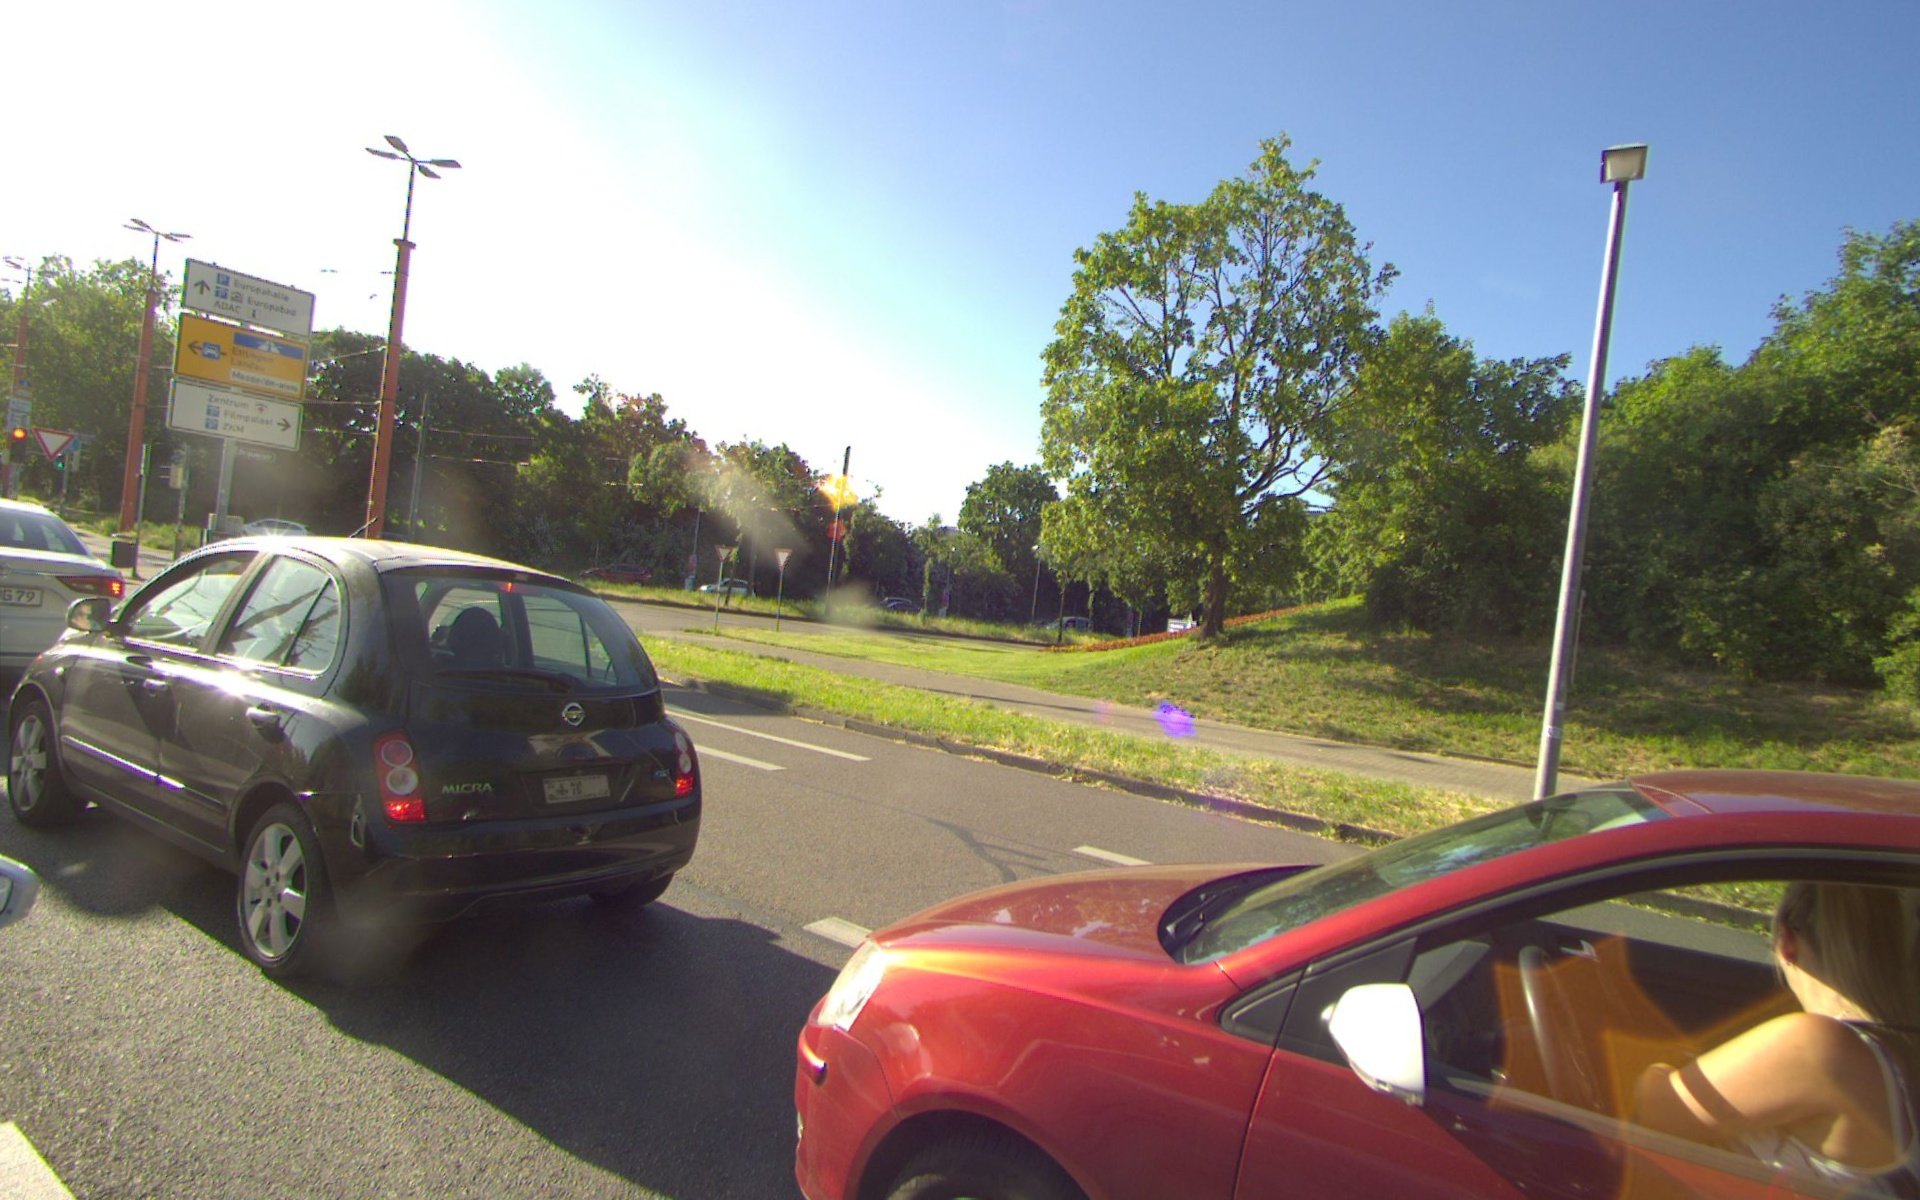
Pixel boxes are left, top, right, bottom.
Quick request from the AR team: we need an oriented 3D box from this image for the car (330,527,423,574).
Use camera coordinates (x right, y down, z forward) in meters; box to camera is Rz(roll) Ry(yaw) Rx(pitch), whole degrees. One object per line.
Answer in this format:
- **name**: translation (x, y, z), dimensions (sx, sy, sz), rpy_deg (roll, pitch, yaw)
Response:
- **car**: translation (-31.847, -2.688, 54.938), dimensions (4.169, 1.906, 1.750), rpy_deg (8, -1, -35)

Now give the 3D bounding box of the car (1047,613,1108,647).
- **car**: translation (9.242, 2.353, 78.900), dimensions (4.217, 2.038, 1.984), rpy_deg (8, -1, -30)

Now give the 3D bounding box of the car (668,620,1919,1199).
- **car**: translation (1.404, 1.012, 1.871), dimensions (3.700, 1.455, 1.644), rpy_deg (6, -2, 33)

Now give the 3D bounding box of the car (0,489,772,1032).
- **car**: translation (-2.849, 0.461, 4.704), dimensions (3.555, 1.518, 1.657), rpy_deg (7, -2, 32)

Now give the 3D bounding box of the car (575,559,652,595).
- **car**: translation (-22.109, -1.484, 64.256), dimensions (4.257, 1.725, 1.833), rpy_deg (8, -1, -29)

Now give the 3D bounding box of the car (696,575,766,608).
- **car**: translation (-14.732, -0.538, 64.761), dimensions (3.970, 1.546, 1.694), rpy_deg (8, -1, -30)

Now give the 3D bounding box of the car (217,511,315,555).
- **car**: translation (-37.560, -3.611, 54.550), dimensions (4.205, 1.701, 1.687), rpy_deg (8, -1, -35)

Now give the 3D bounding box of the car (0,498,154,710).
- **car**: translation (-8.350, -0.171, 8.019), dimensions (4.130, 1.454, 1.723), rpy_deg (7, -1, 33)
